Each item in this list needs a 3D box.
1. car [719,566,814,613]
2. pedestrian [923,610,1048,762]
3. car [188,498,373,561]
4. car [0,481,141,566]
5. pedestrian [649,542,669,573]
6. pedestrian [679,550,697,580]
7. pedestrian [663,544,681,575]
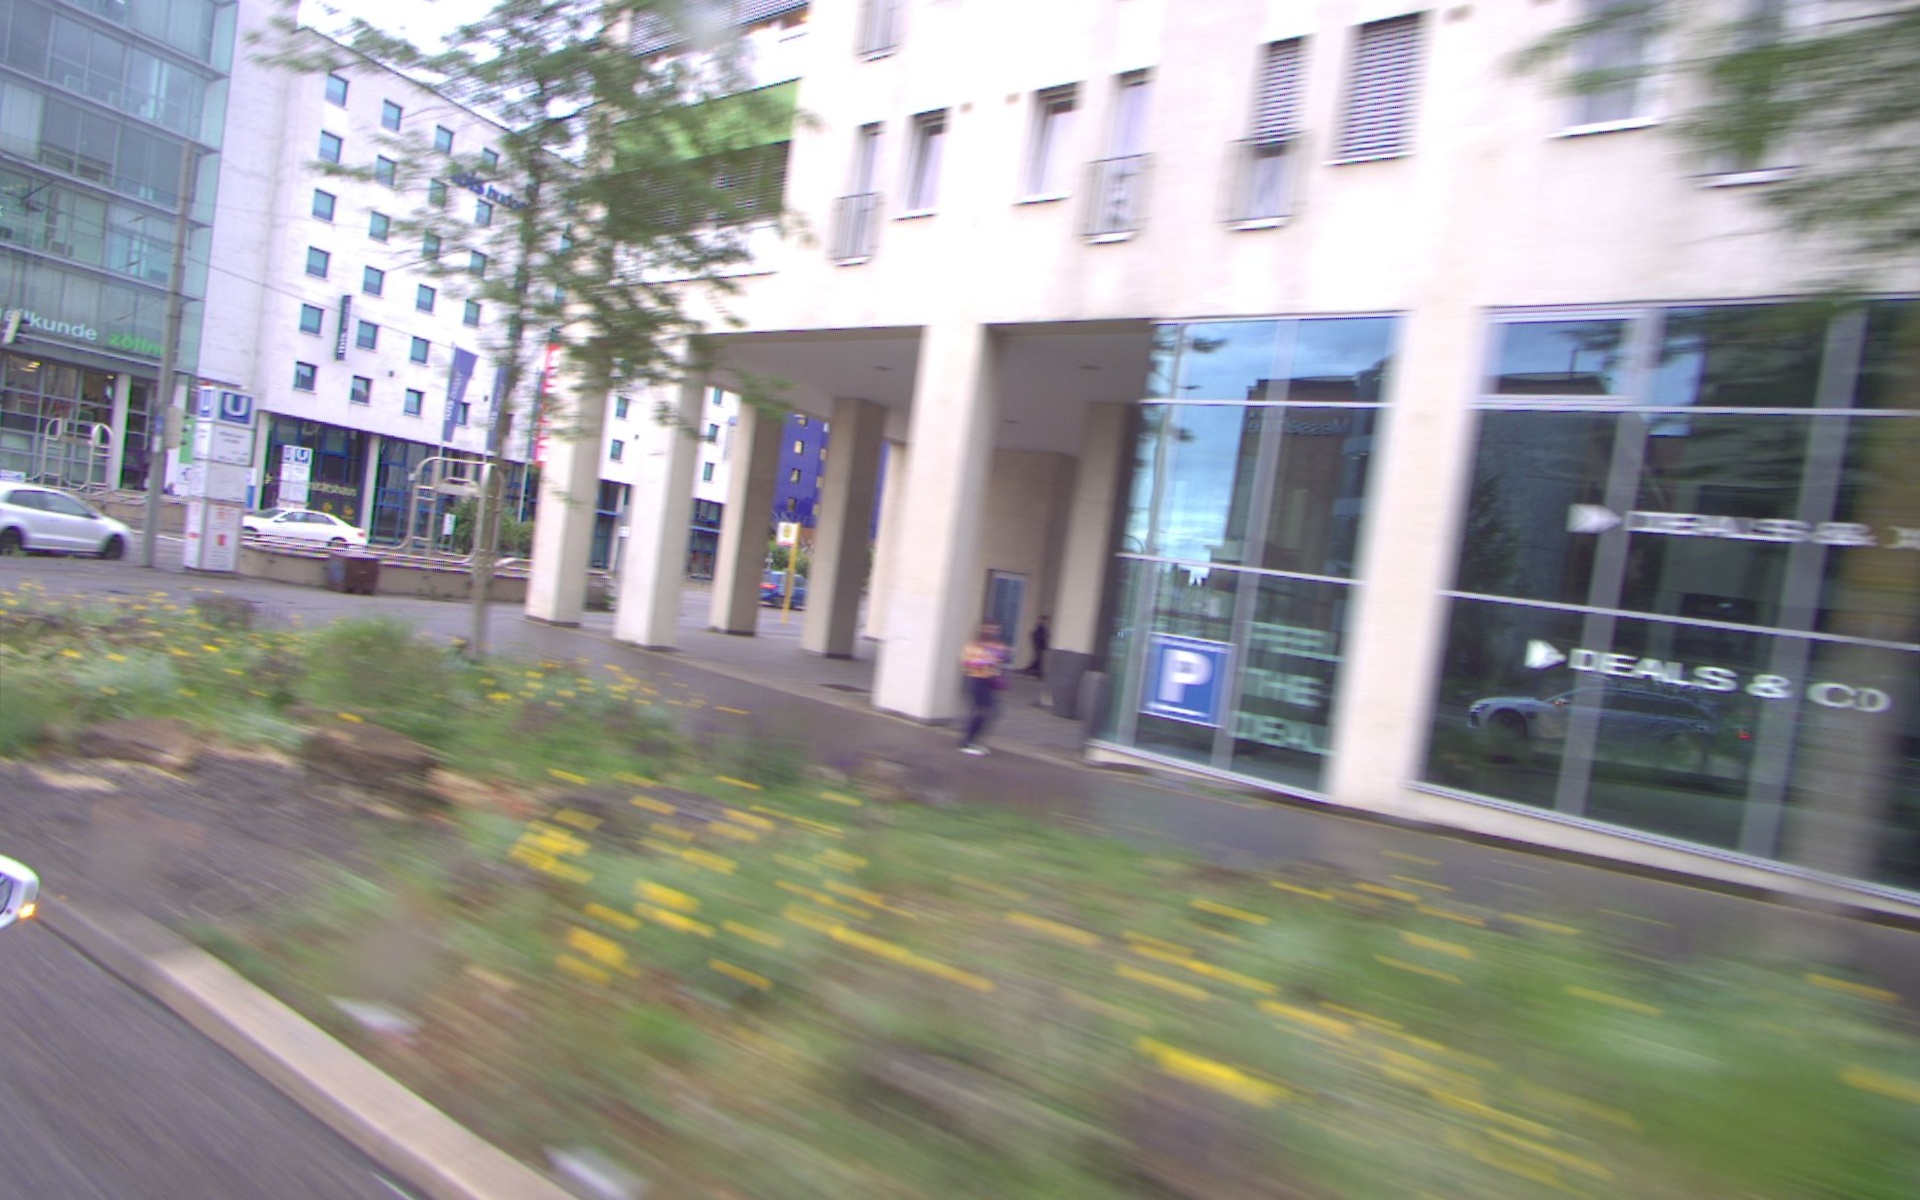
[{"bbox_3d":[-8.881,-0.451,46.476,1.967,1.593,3.991,9,1,32],"label":"car"},{"bbox_3d":[0.323,1.090,12.838,1.072,1.733,0.872,8,1,38],"label":"pedestrian"},{"bbox_3d":[-23.367,-2.382,34.830,1.792,1.404,4.954,8,1,31],"label":"car"},{"bbox_3d":[-19.077,-1.587,20.524,1.647,1.492,3.775,9,1,-4],"label":"car"},{"bbox_3d":[-21.158,-3.004,70.640,0.791,2.037,0.814,7,-1,33],"label":"pedestrian"},{"bbox_3d":[-19.714,-2.537,72.970,0.891,2.037,0.809,8,-1,-29],"label":"pedestrian"},{"bbox_3d":[-20.532,-2.877,71.779,0.800,2.037,0.805,7,-1,4],"label":"pedestrian"}]
